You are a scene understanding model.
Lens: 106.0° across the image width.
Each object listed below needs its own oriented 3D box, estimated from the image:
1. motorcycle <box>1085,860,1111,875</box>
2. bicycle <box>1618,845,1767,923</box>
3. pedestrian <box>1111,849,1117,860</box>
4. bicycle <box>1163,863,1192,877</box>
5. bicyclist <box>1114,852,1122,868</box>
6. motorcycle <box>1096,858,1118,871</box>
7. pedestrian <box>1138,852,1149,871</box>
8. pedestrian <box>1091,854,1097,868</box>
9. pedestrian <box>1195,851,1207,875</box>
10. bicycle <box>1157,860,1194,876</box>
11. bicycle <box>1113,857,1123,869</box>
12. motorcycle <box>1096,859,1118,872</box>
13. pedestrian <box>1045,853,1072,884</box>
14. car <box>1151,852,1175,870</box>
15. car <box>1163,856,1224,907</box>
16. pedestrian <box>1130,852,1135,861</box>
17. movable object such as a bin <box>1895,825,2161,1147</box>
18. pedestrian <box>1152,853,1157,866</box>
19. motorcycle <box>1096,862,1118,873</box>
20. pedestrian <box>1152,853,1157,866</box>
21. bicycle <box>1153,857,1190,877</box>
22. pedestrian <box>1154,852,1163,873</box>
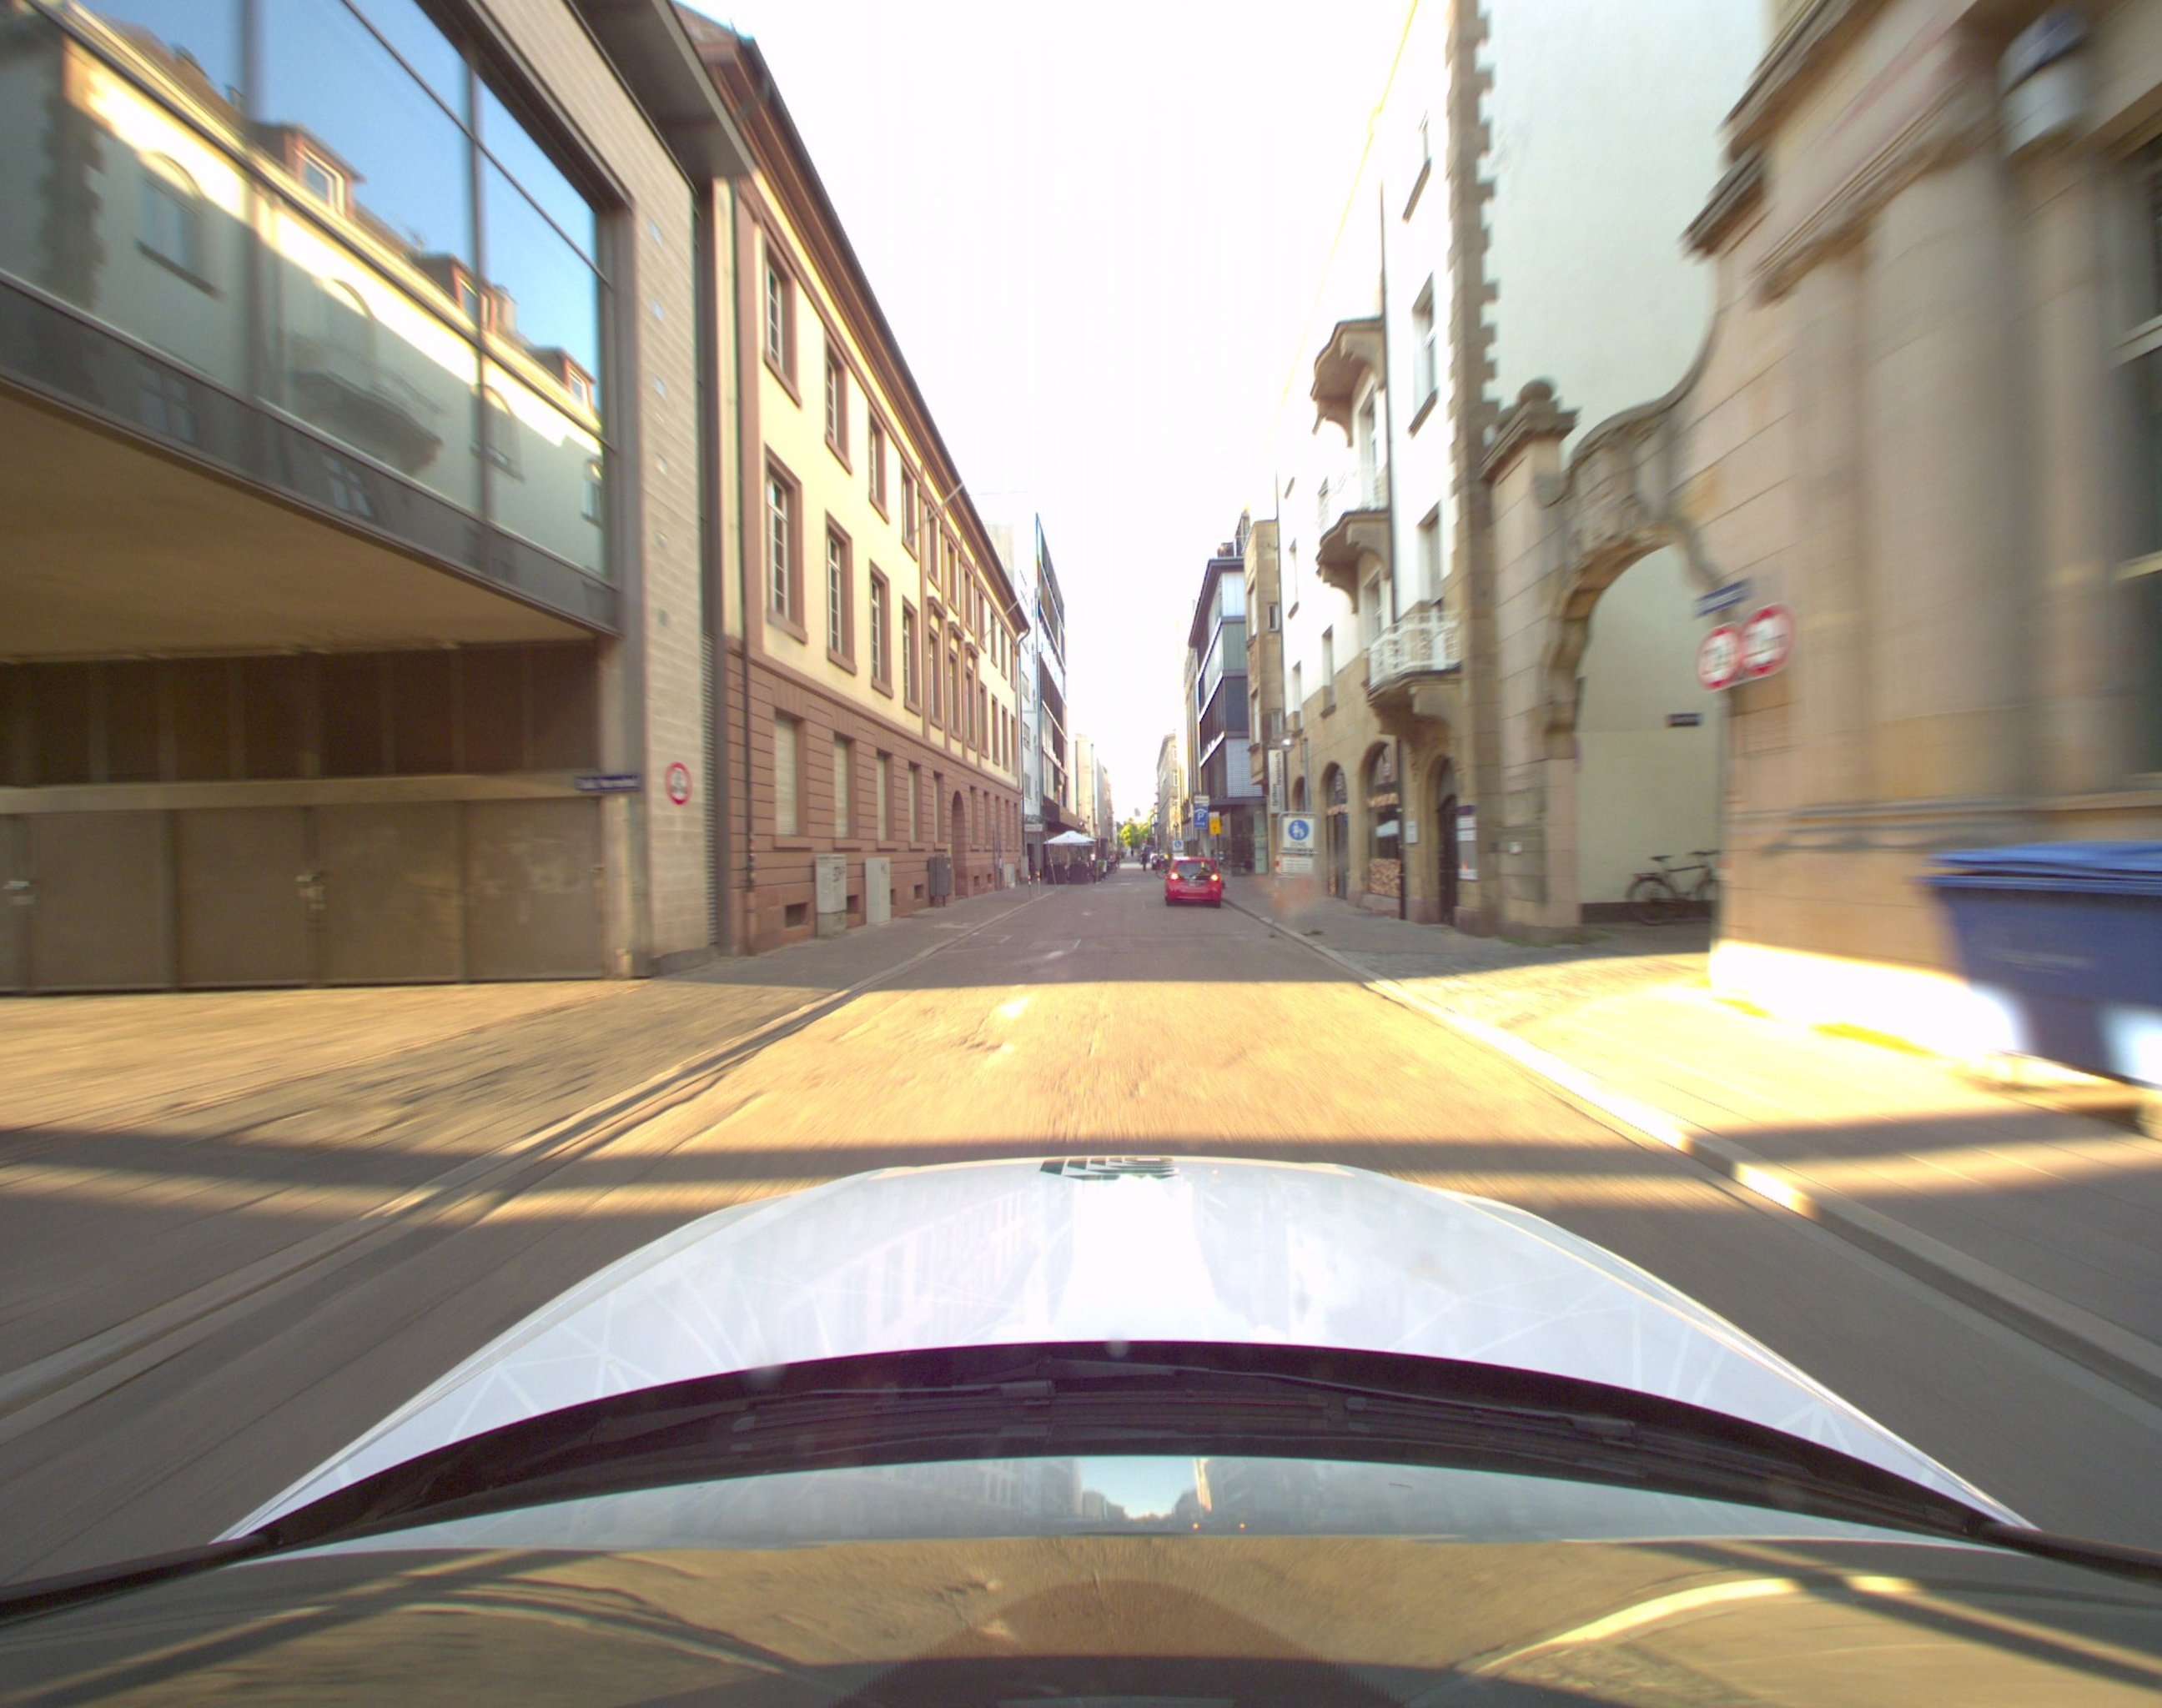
[{"bbox_3d":[1.204,0.937,56.995,1.796,1.040,0.493,-1,0,-1],"label":"motorcycle"},{"bbox_3d":[8.988,0.435,11.998,1.804,1.066,0.444,-2,0,2],"label":"bicycle"},{"bbox_3d":[4.717,0.076,115.935,0.675,1.623,0.626,-2,0,5],"label":"pedestrian"},{"bbox_3d":[5.369,0.894,45.381,1.560,0.768,0.557,-2,0,0],"label":"bicycle"},{"bbox_3d":[3.706,0.595,82.238,0.635,1.641,0.770,-1,0,-5],"label":"bicyclist"},{"bbox_3d":[2.160,0.881,67.824,1.796,0.989,0.560,-1,0,-1],"label":"motorcycle"},{"bbox_3d":[5.590,0.673,72.929,0.864,1.713,0.851,-1,0,-5],"label":"pedestrian"},{"bbox_3d":[1.490,0.822,93.283,0.603,1.623,0.528,-1,0,-7],"label":"pedestrian"},{"bbox_3d":[7.634,0.560,51.817,0.653,1.487,0.493,-2,0,5],"label":"pedestrian"},{"bbox_3d":[5.750,0.873,49.629,2.193,0.906,0.649,-2,0,0],"label":"bicycle"},{"bbox_3d":[3.716,0.893,82.200,0.635,1.157,2.497,-1,0,-5],"label":"bicycle"},{"bbox_3d":[2.115,0.930,66.186,1.796,0.989,0.560,-1,0,-1],"label":"motorcycle"},{"bbox_3d":[-1.126,0.729,41.117,1.286,1.487,0.661,-1,0,1],"label":"pedestrian"},{"bbox_3d":[7.434,0.618,74.149,1.986,1.611,4.002,-1,0,2],"label":"car"},{"bbox_3d":[3.397,0.783,25.145,1.642,1.427,3.539,1,0,4],"label":"car"},{"bbox_3d":[10.707,0.524,169.142,0.800,1.672,0.890,-2,0,5],"label":"pedestrian"},{"bbox_3d":[5.219,0.563,4.094,0.986,1.392,1.241,-2,0,3],"label":"movable object such as a bin"},{"bbox_3d":[9.112,0.636,100.802,0.601,1.623,0.626,-2,0,5],"label":"pedestrian"},{"bbox_3d":[2.078,1.064,65.152,1.796,0.875,0.560,-1,0,-1],"label":"motorcycle"},{"bbox_3d":[9.080,0.655,100.215,0.601,1.623,0.530,-2,0,5],"label":"pedestrian"},{"bbox_3d":[5.190,0.740,46.903,2.045,1.134,0.649,-1,0,0],"label":"bicycle"},{"bbox_3d":[5.897,0.642,62.238,0.630,1.619,0.467,-1,0,5],"label":"pedestrian"}]
